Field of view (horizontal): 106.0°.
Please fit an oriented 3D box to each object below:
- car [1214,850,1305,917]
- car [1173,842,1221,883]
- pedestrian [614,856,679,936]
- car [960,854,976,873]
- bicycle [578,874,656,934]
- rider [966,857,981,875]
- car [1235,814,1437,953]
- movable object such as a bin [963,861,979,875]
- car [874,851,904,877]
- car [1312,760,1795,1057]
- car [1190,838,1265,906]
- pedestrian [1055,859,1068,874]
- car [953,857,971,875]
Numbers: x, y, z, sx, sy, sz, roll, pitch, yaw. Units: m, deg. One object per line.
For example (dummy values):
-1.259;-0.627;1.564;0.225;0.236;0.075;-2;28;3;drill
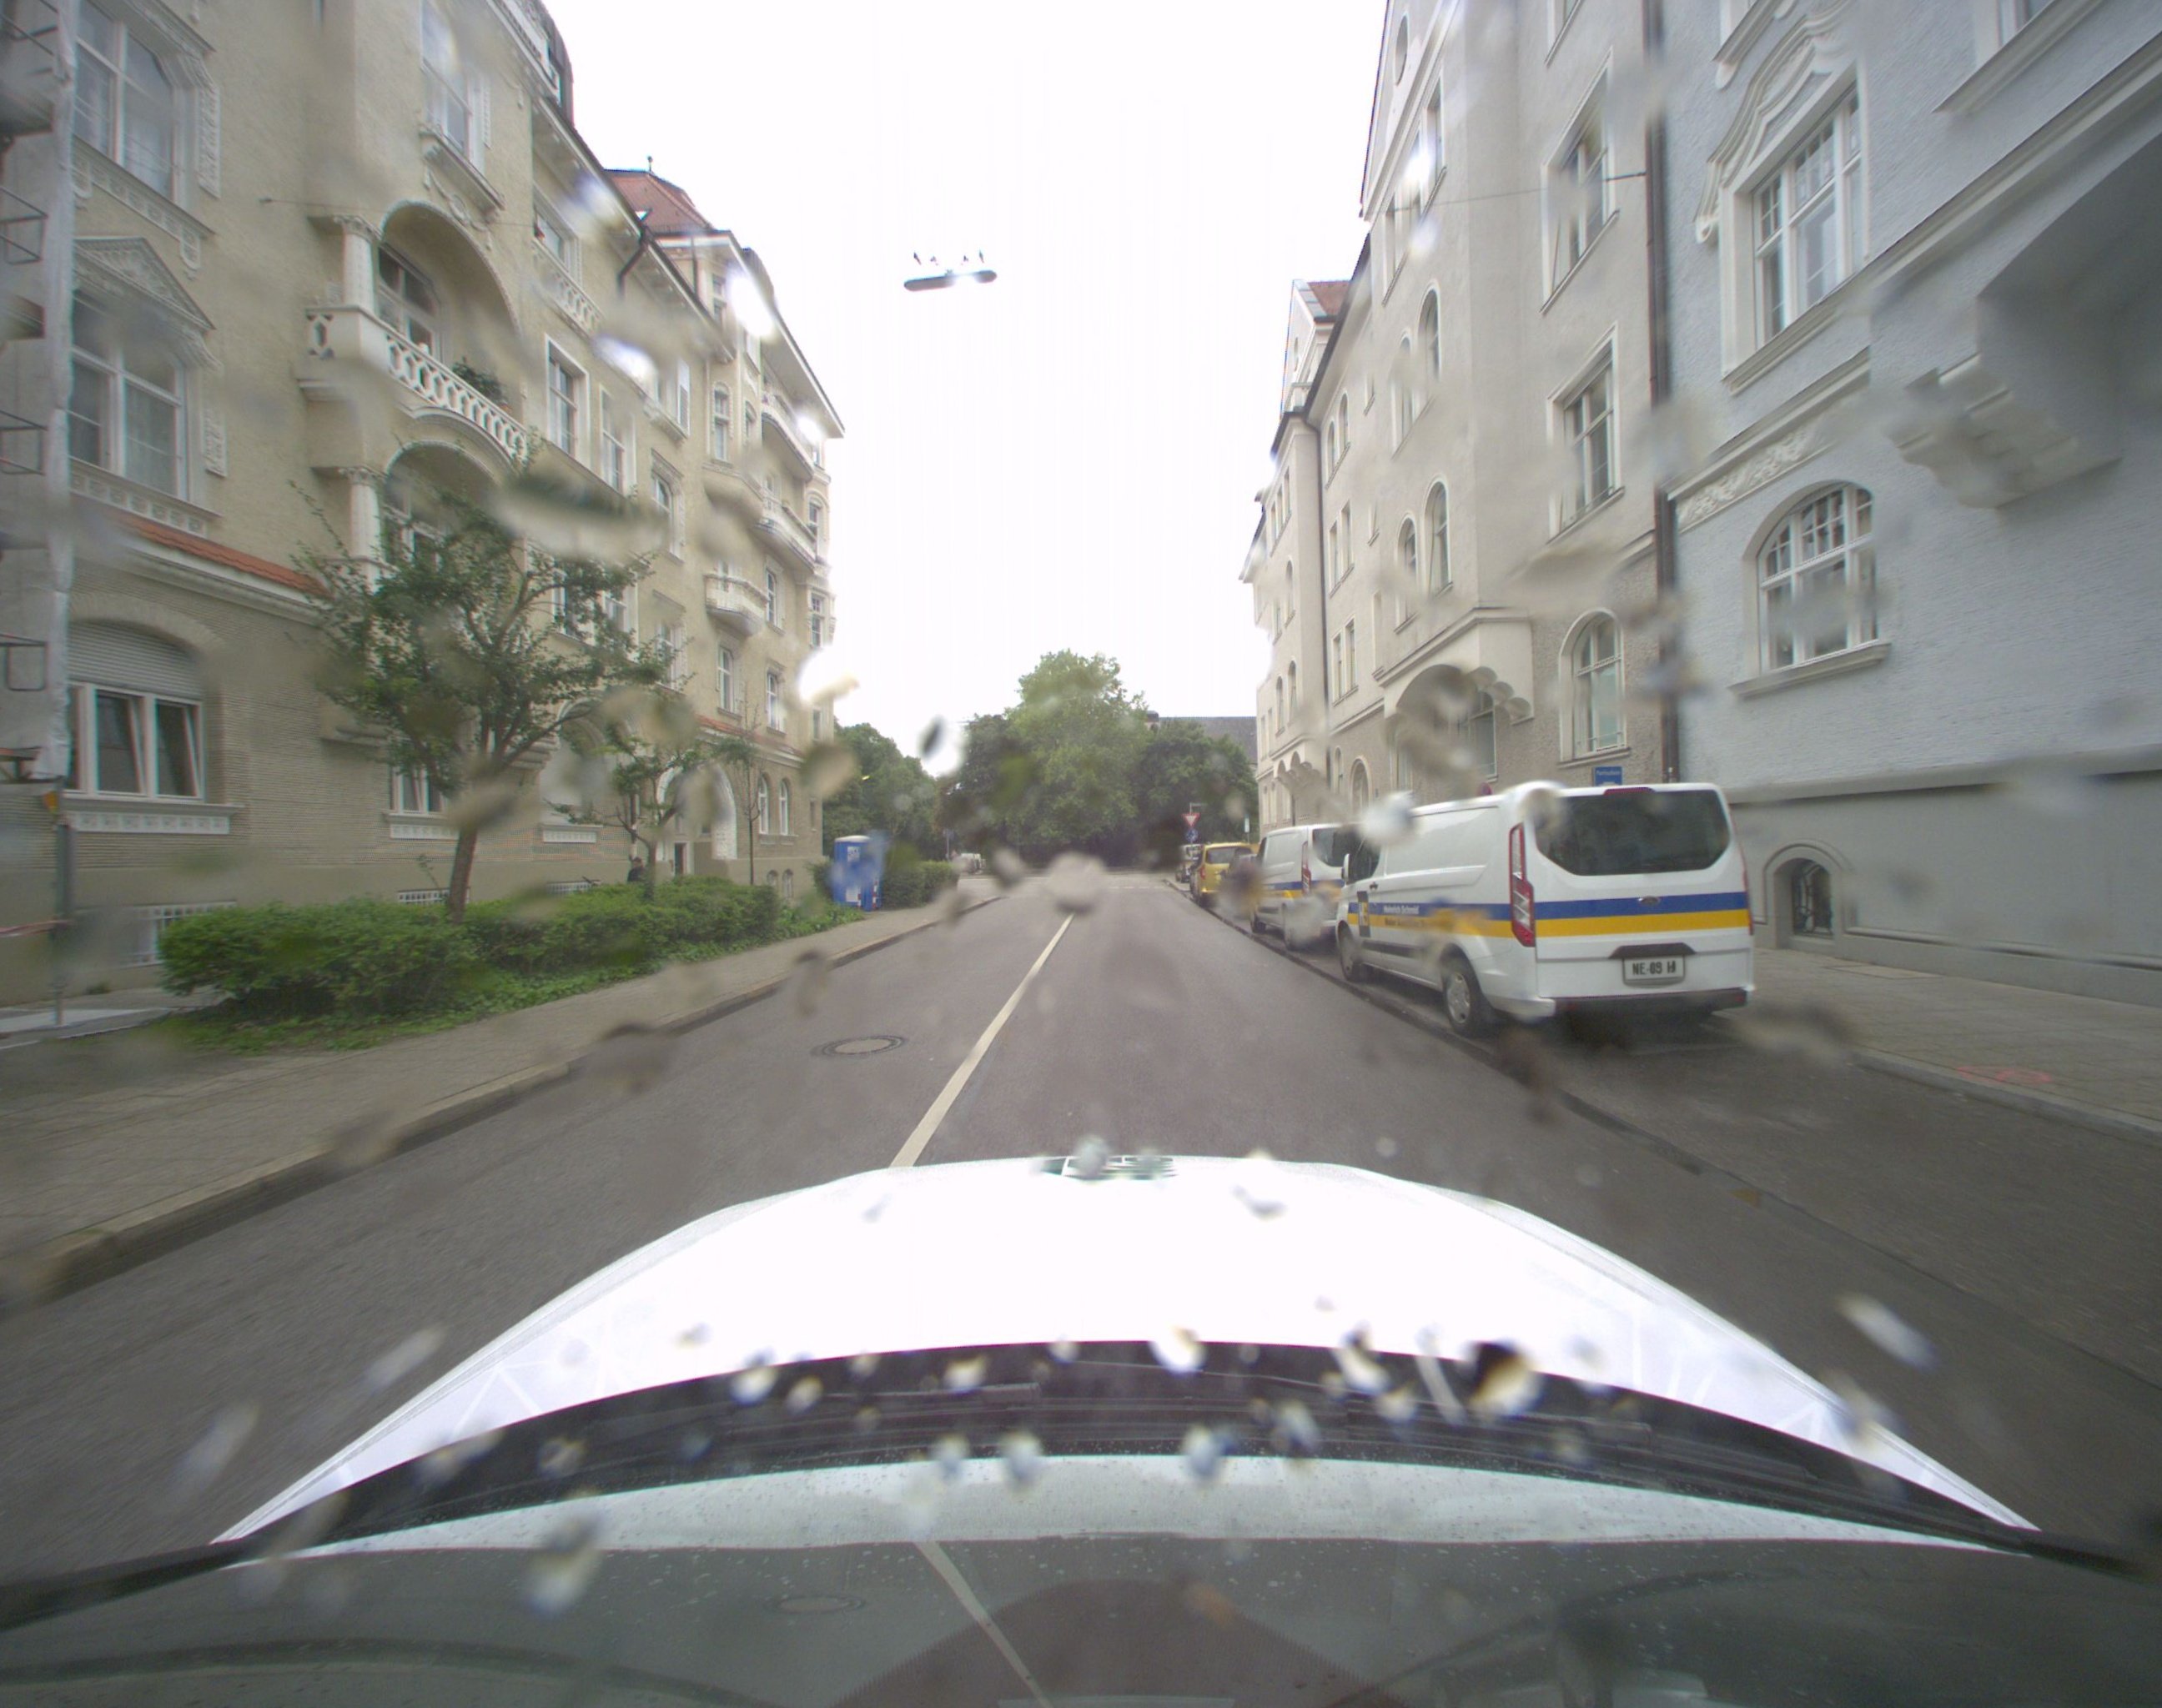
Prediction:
4.375;0.674;20.412;1.624;1.484;3.787;-2;0;3;car
6.083;0.440;43.310;1.909;1.962;4.928;-3;0;1;car
-9.953;0.943;18.691;0.910;1.751;0.948;-2;-1;1;pedestrian
-15.547;1.264;112.418;2.040;2.558;5.234;-2;0;-7;car
-10.843;1.148;19.103;0.742;1.276;1.704;-1;0;3;bicycle
-10.325;1.138;78.331;1.075;1.667;1.143;-4;-1;10;rider
4.150;0.432;14.242;1.953;1.937;4.993;-2;0;0;car
-10.470;1.342;77.521;1.071;1.267;1.090;-4;-1;10;movable object such as a bin
-23.270;1.189;98.898;2.329;2.922;6.572;-2;0;-2;car
4.013;0.384;8.191;1.953;2.013;4.993;-2;0;0;car
4.452;0.504;25.412;1.841;1.853;4.827;-2;0;5;car
-1.596;1.005;66.809;0.807;1.189;0.921;-2;0;8;pedestrian
-14.085;1.408;96.701;2.040;1.922;4.433;-2;0;-8;car
